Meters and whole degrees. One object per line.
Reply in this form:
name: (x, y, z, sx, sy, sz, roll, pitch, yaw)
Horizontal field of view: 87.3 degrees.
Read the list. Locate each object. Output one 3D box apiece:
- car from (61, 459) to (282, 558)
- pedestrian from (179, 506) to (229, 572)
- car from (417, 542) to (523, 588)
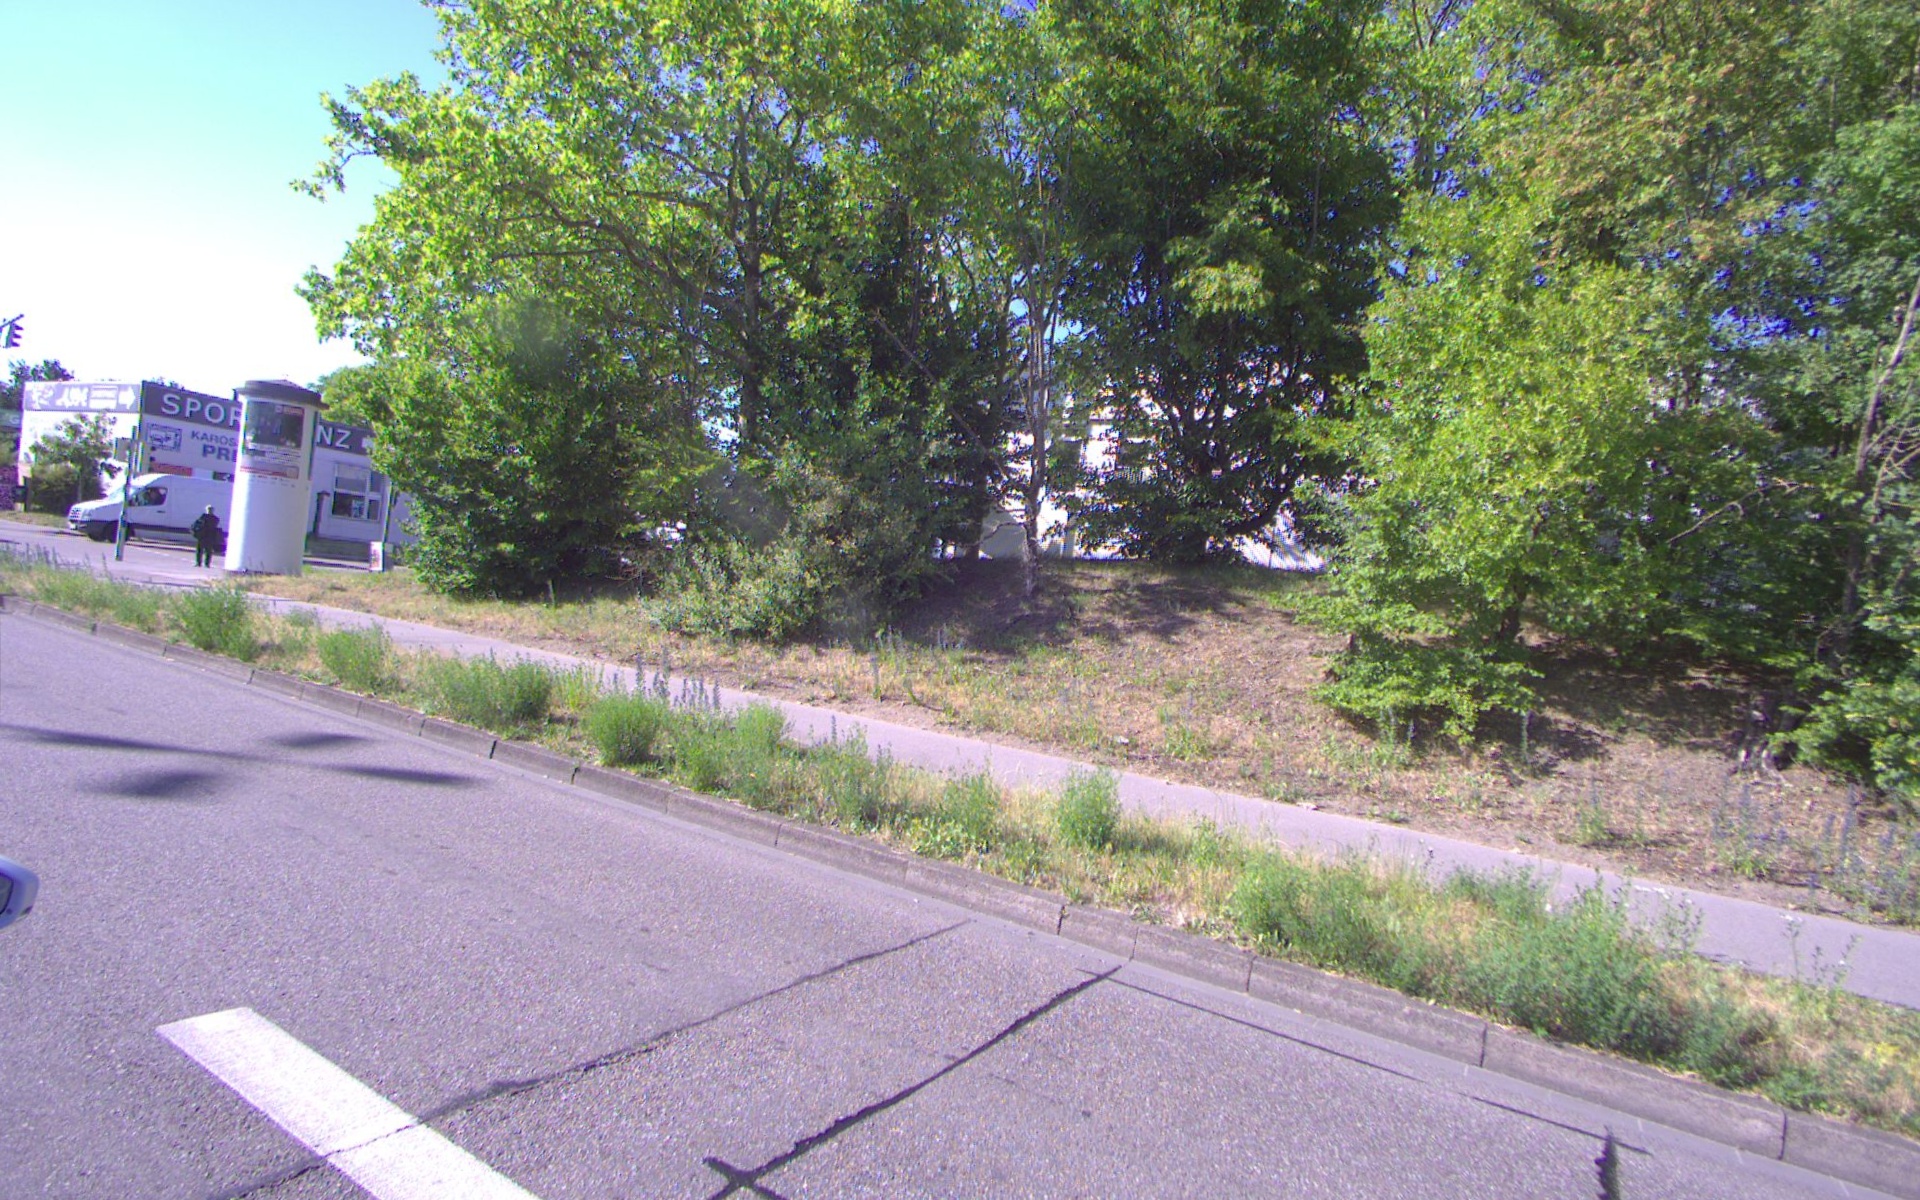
car: (-28.281, -3.207, 36.342, 1.967, 2.706, 5.840, 6, 0, 32)
pedestrian: (-21.009, -1.693, 27.972, 0.506, 1.688, 0.818, 6, -1, 31)
car: (-22.945, -1.607, 47.281, 1.848, 1.525, 3.995, 6, -2, 32)
